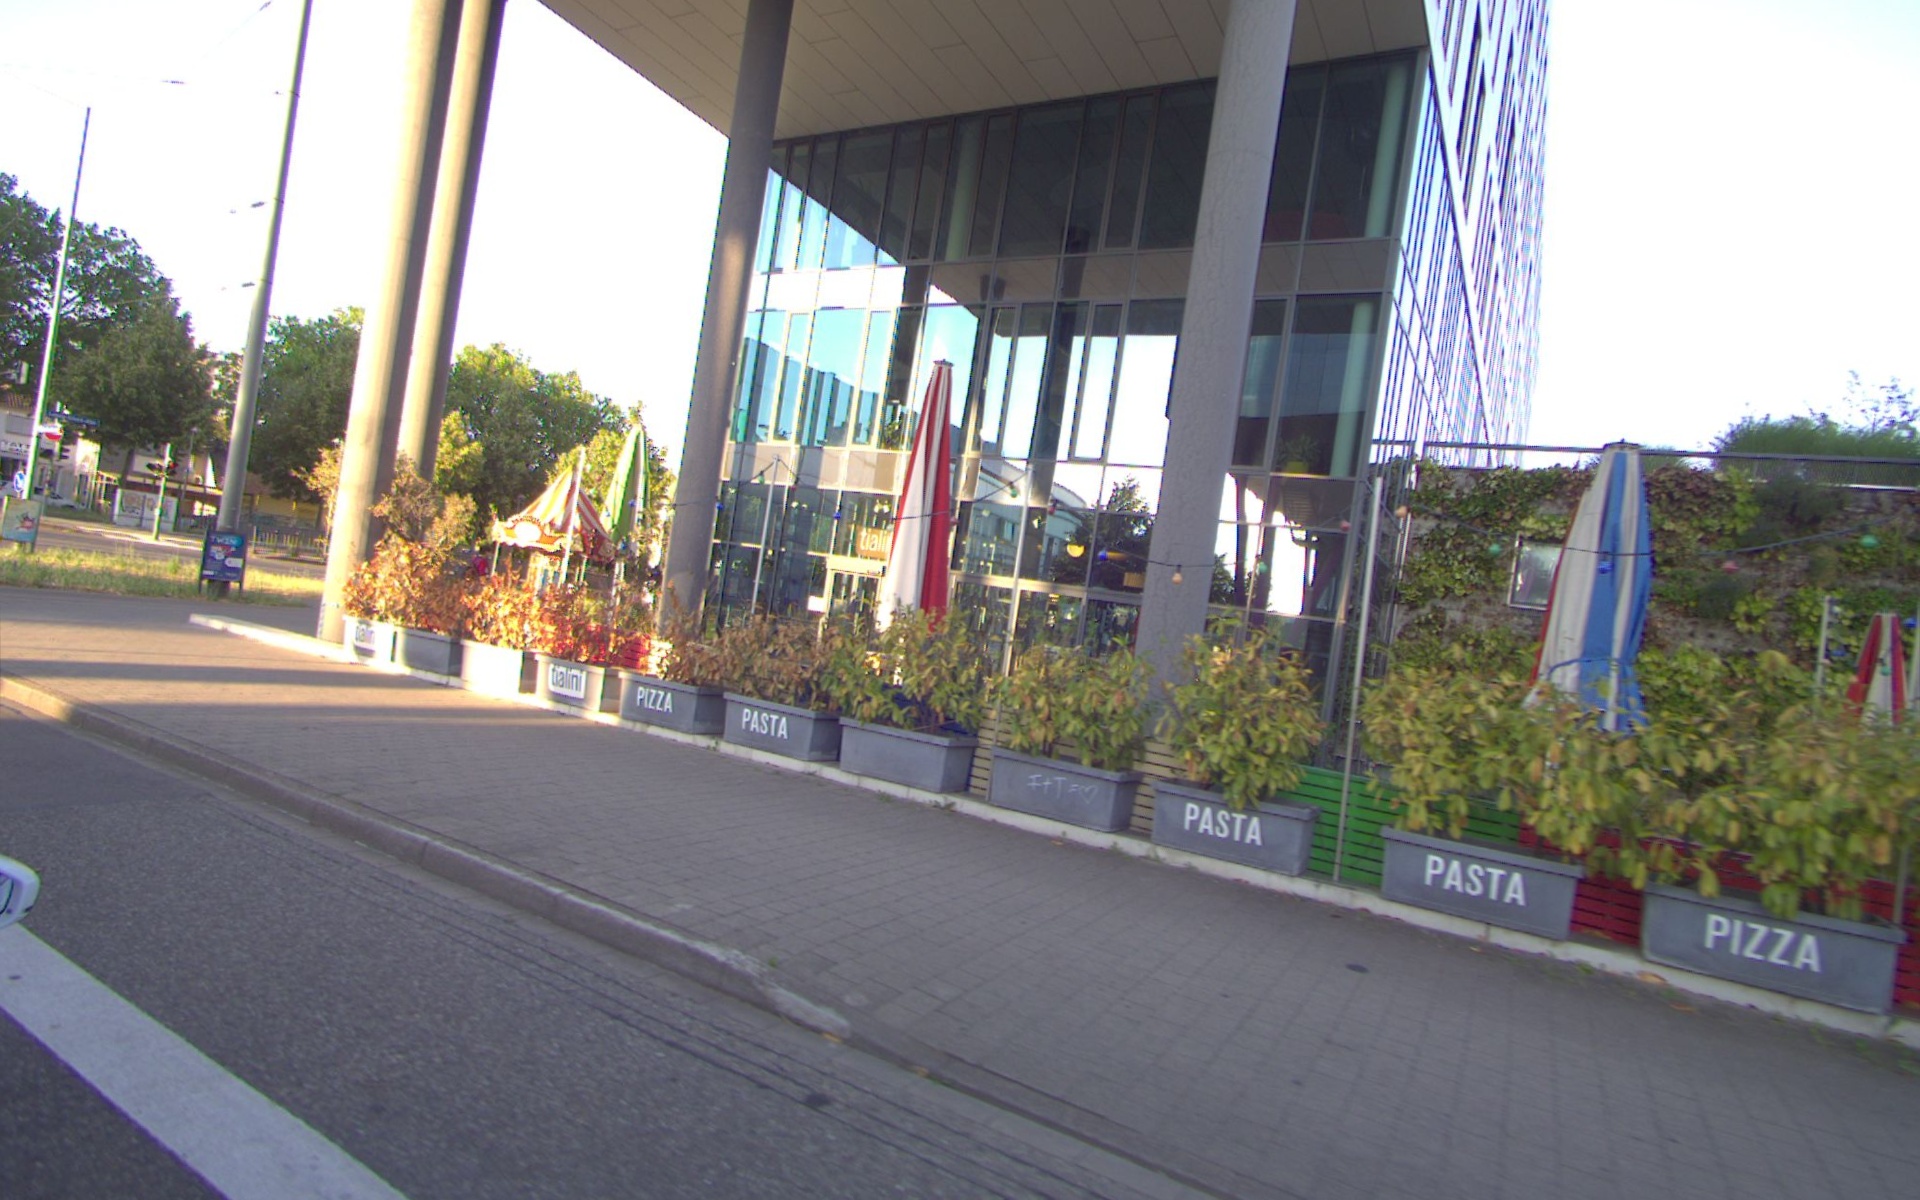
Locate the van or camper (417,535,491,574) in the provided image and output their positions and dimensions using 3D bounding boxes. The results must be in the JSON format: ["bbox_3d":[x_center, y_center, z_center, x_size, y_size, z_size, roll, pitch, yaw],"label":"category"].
[{"bbox_3d":[-40.236,-3.587,80.103,2.043,2.206,4.665,10,-1,33],"label":"van or camper"}]

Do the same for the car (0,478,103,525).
[{"bbox_3d":[-52.831,-5.706,58.157,1.913,1.837,4.475,10,-1,33],"label":"car"}]

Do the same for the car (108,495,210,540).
[{"bbox_3d":[-49.683,-5.081,62.488,1.913,1.837,4.475,10,-1,33],"label":"car"}]
